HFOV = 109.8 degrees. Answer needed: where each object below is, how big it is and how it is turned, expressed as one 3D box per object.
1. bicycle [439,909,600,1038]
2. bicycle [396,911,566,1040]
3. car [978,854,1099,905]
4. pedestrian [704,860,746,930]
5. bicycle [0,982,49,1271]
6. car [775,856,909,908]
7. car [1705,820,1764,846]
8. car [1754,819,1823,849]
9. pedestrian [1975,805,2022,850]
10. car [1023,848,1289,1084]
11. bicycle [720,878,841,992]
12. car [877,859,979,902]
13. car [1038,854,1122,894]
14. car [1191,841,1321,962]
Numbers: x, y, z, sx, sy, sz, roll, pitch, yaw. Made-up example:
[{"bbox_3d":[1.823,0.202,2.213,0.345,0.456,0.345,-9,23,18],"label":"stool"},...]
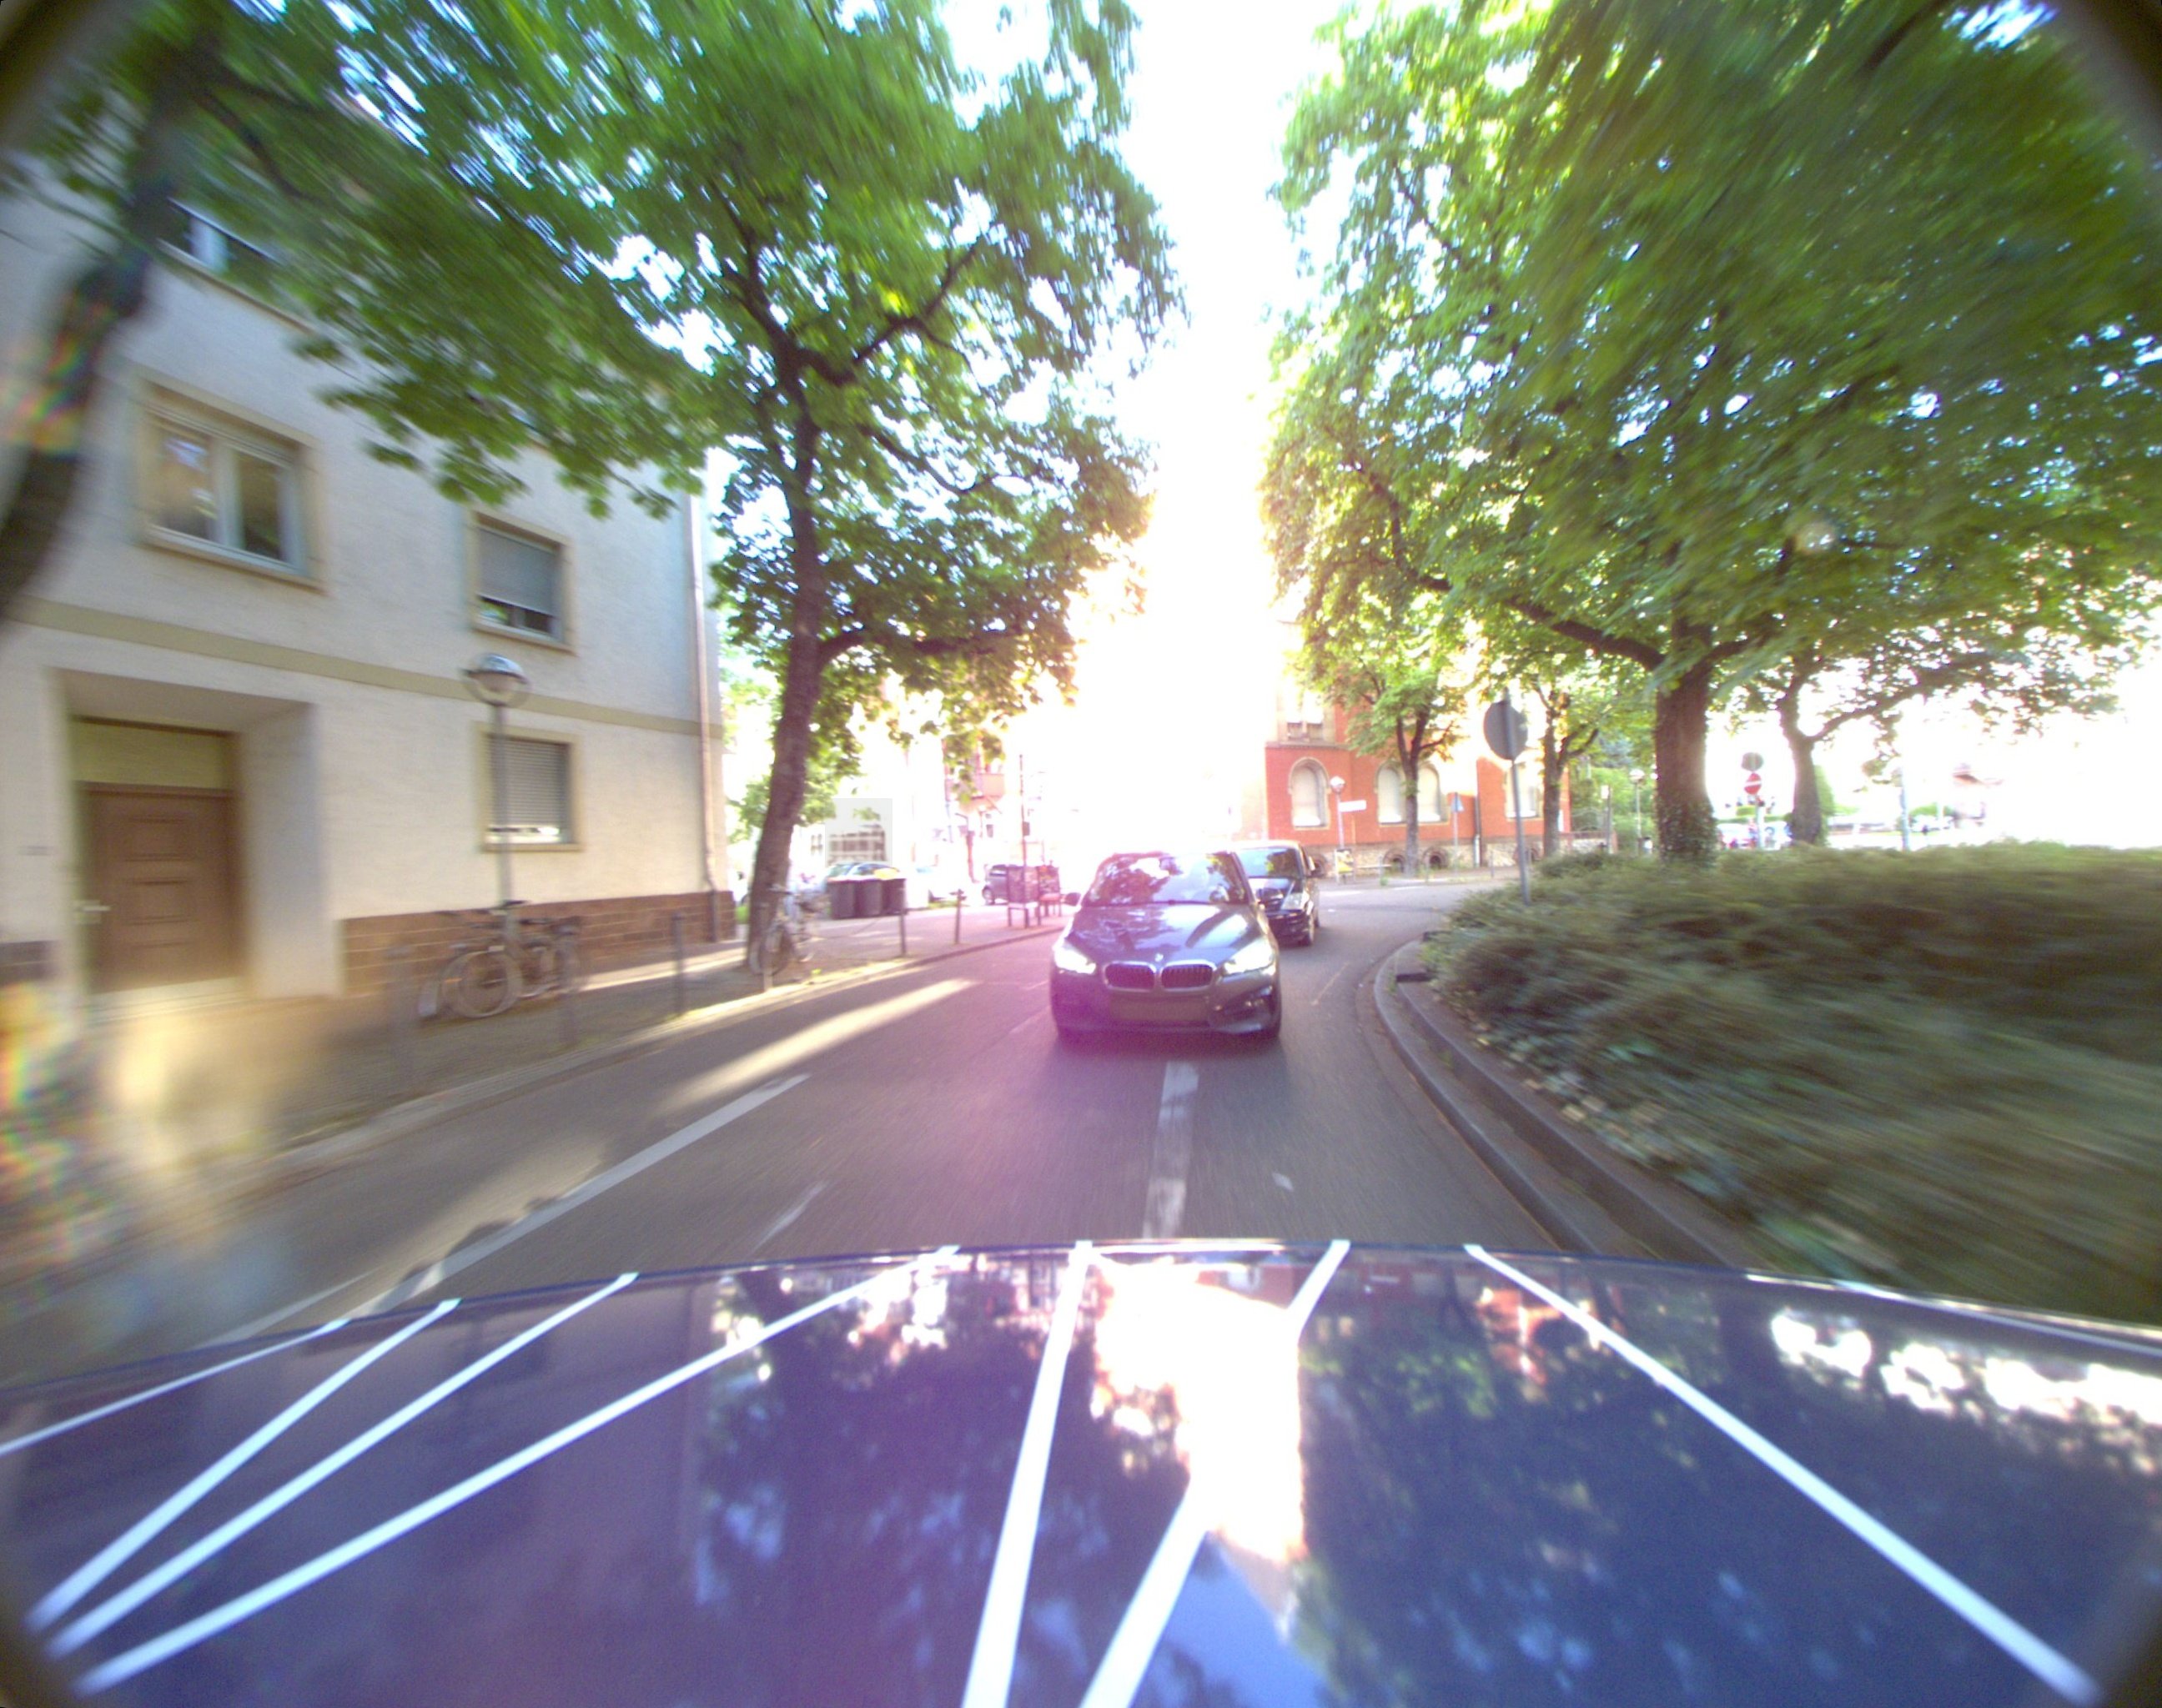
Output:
[{"bbox_3d":[-5.910,1.210,8.112,0.334,1.087,1.637,-3,1,4],"label":"bicycle"},{"bbox_3d":[-6.274,1.223,8.061,0.334,1.087,1.637,-3,1,4],"label":"bicycle"},{"bbox_3d":[-1.505,0.876,25.810,4.041,1.543,1.700,-3,0,42],"label":"car"},{"bbox_3d":[-8.468,0.955,18.091,0.642,1.583,0.944,-2,1,-10],"label":"pedestrian"},{"bbox_3d":[-5.024,1.196,2.435,0.719,1.216,1.914,-3,1,2],"label":"bicycle"},{"bbox_3d":[-7.701,0.877,24.743,1.672,1.417,3.811,-3,1,40],"label":"car"},{"bbox_3d":[40.921,-1.330,47.668,1.733,1.409,4.005,-3,2,25],"label":"car"},{"bbox_3d":[37.410,-1.055,40.290,1.732,1.409,4.007,-3,0,29],"label":"car"},{"bbox_3d":[35.390,-1.015,29.299,0.905,1.625,0.725,-5,0,-10],"label":"pedestrian"},{"bbox_3d":[0.856,0.773,7.376,1.792,1.569,4.263,-2,1,10],"label":"car"},{"bbox_3d":[-4.008,1.033,10.341,0.767,1.297,1.903,-3,1,2],"label":"bicycle"},{"bbox_3d":[-6.196,1.076,30.537,4.174,1.543,1.809,-3,0,42],"label":"car"},{"bbox_3d":[-0.059,0.817,31.292,3.207,1.531,1.495,-2,1,42],"label":"car"},{"bbox_3d":[2.991,0.660,12.438,1.677,1.619,3.692,-3,0,18],"label":"car"}]
